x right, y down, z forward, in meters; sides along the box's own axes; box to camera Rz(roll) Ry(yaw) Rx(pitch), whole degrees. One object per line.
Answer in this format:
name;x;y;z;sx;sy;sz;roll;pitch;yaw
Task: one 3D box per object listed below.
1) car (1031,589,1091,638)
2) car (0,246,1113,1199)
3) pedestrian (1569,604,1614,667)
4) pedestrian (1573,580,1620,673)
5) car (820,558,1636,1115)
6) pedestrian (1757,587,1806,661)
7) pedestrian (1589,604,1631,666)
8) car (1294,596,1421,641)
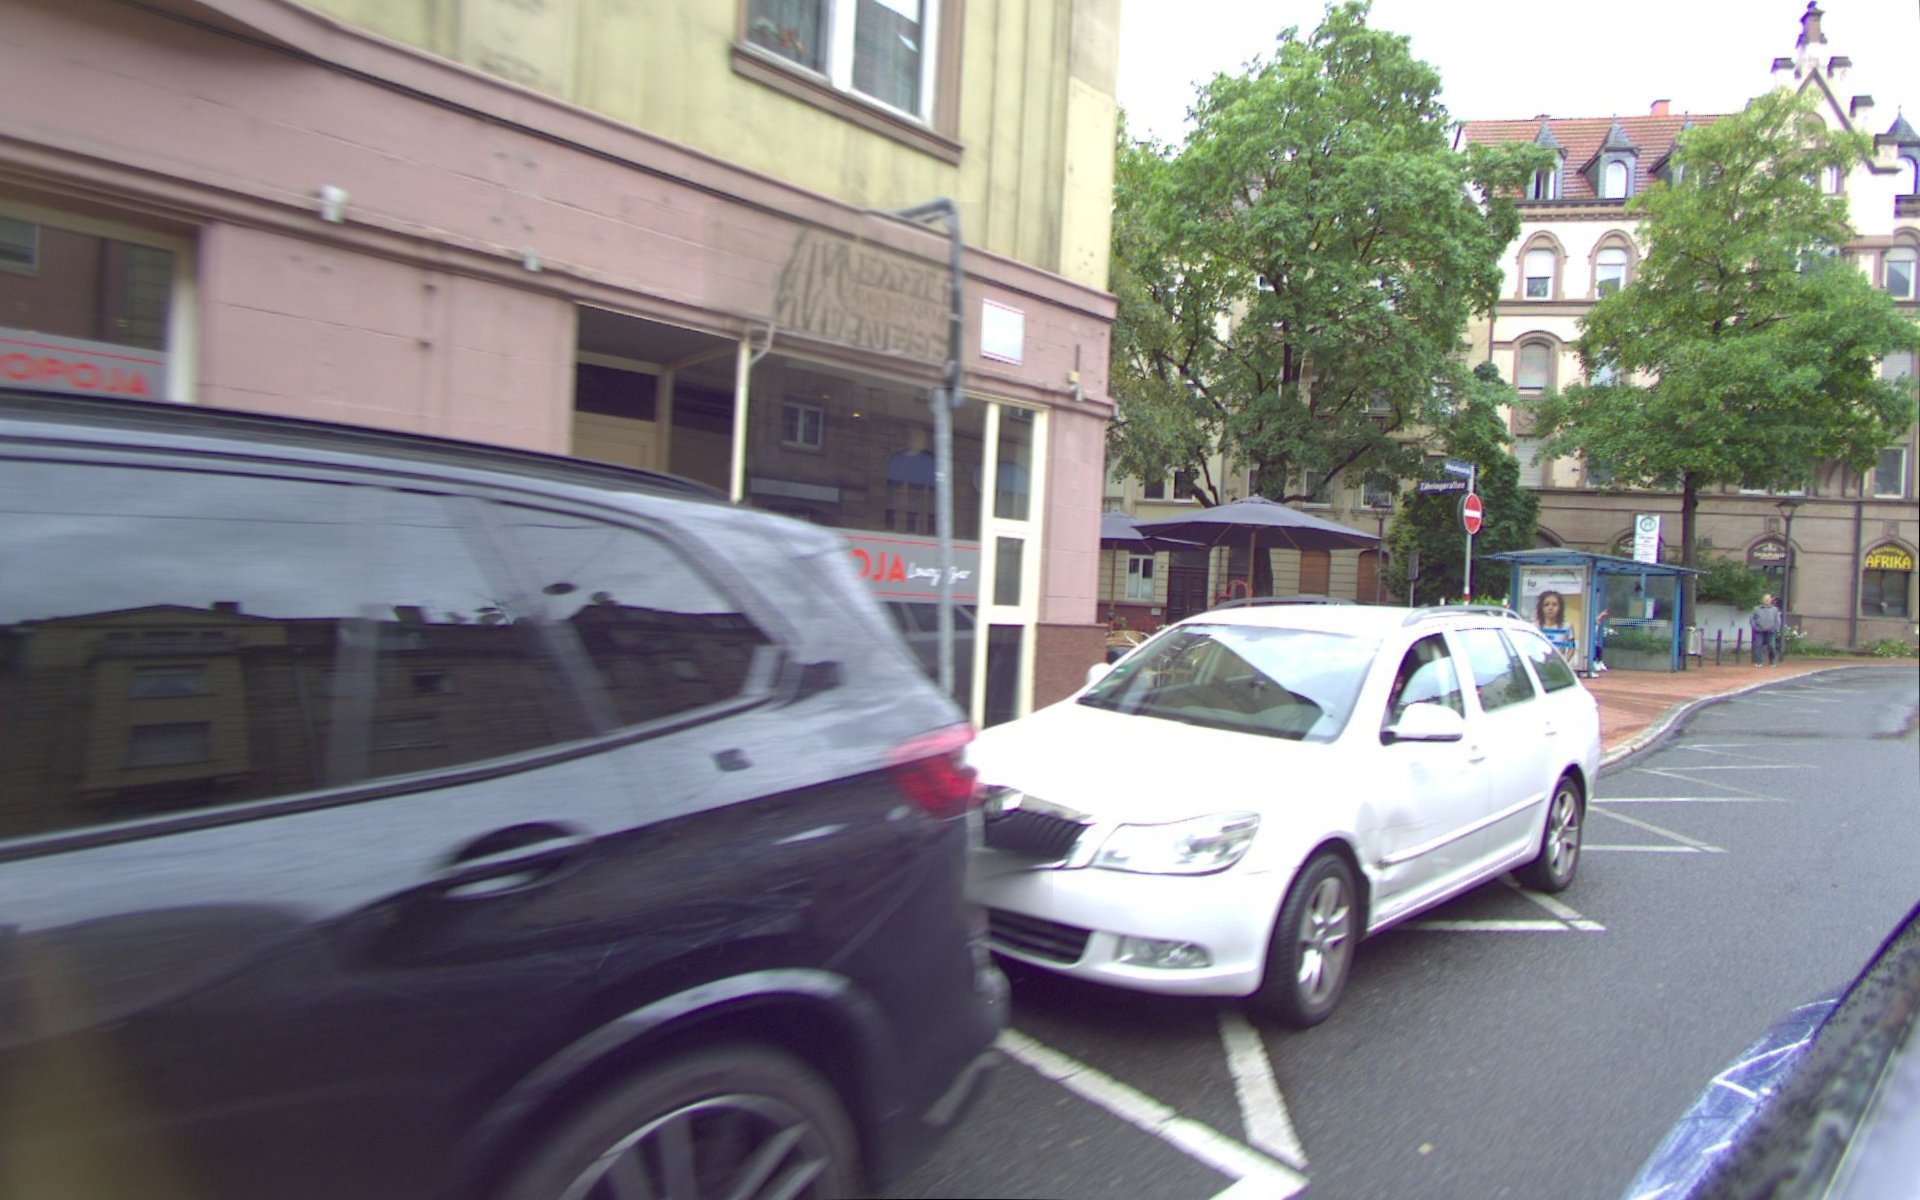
car;3.713;0.435;36.615;1.846;1.546;3.990;0;3;10
car;-2.024;0.519;1.344;4.594;1.753;1.882;0;0;-41
pedestrian;13.277;0.741;21.267;0.606;1.296;0.572;1;-1;-30
pedestrian;12.576;0.516;19.995;0.534;1.798;0.561;0;-1;-12
car;1.649;0.655;5.034;4.415;1.584;1.801;0;0;-42
pedestrian;19.650;0.562;24.225;0.716;1.756;0.574;0;-1;-13
pedestrian;13.846;0.735;21.557;0.523;1.296;0.572;1;-1;-30
car;13.531;0.614;34.490;3.769;1.495;1.775;0;-1;-18
